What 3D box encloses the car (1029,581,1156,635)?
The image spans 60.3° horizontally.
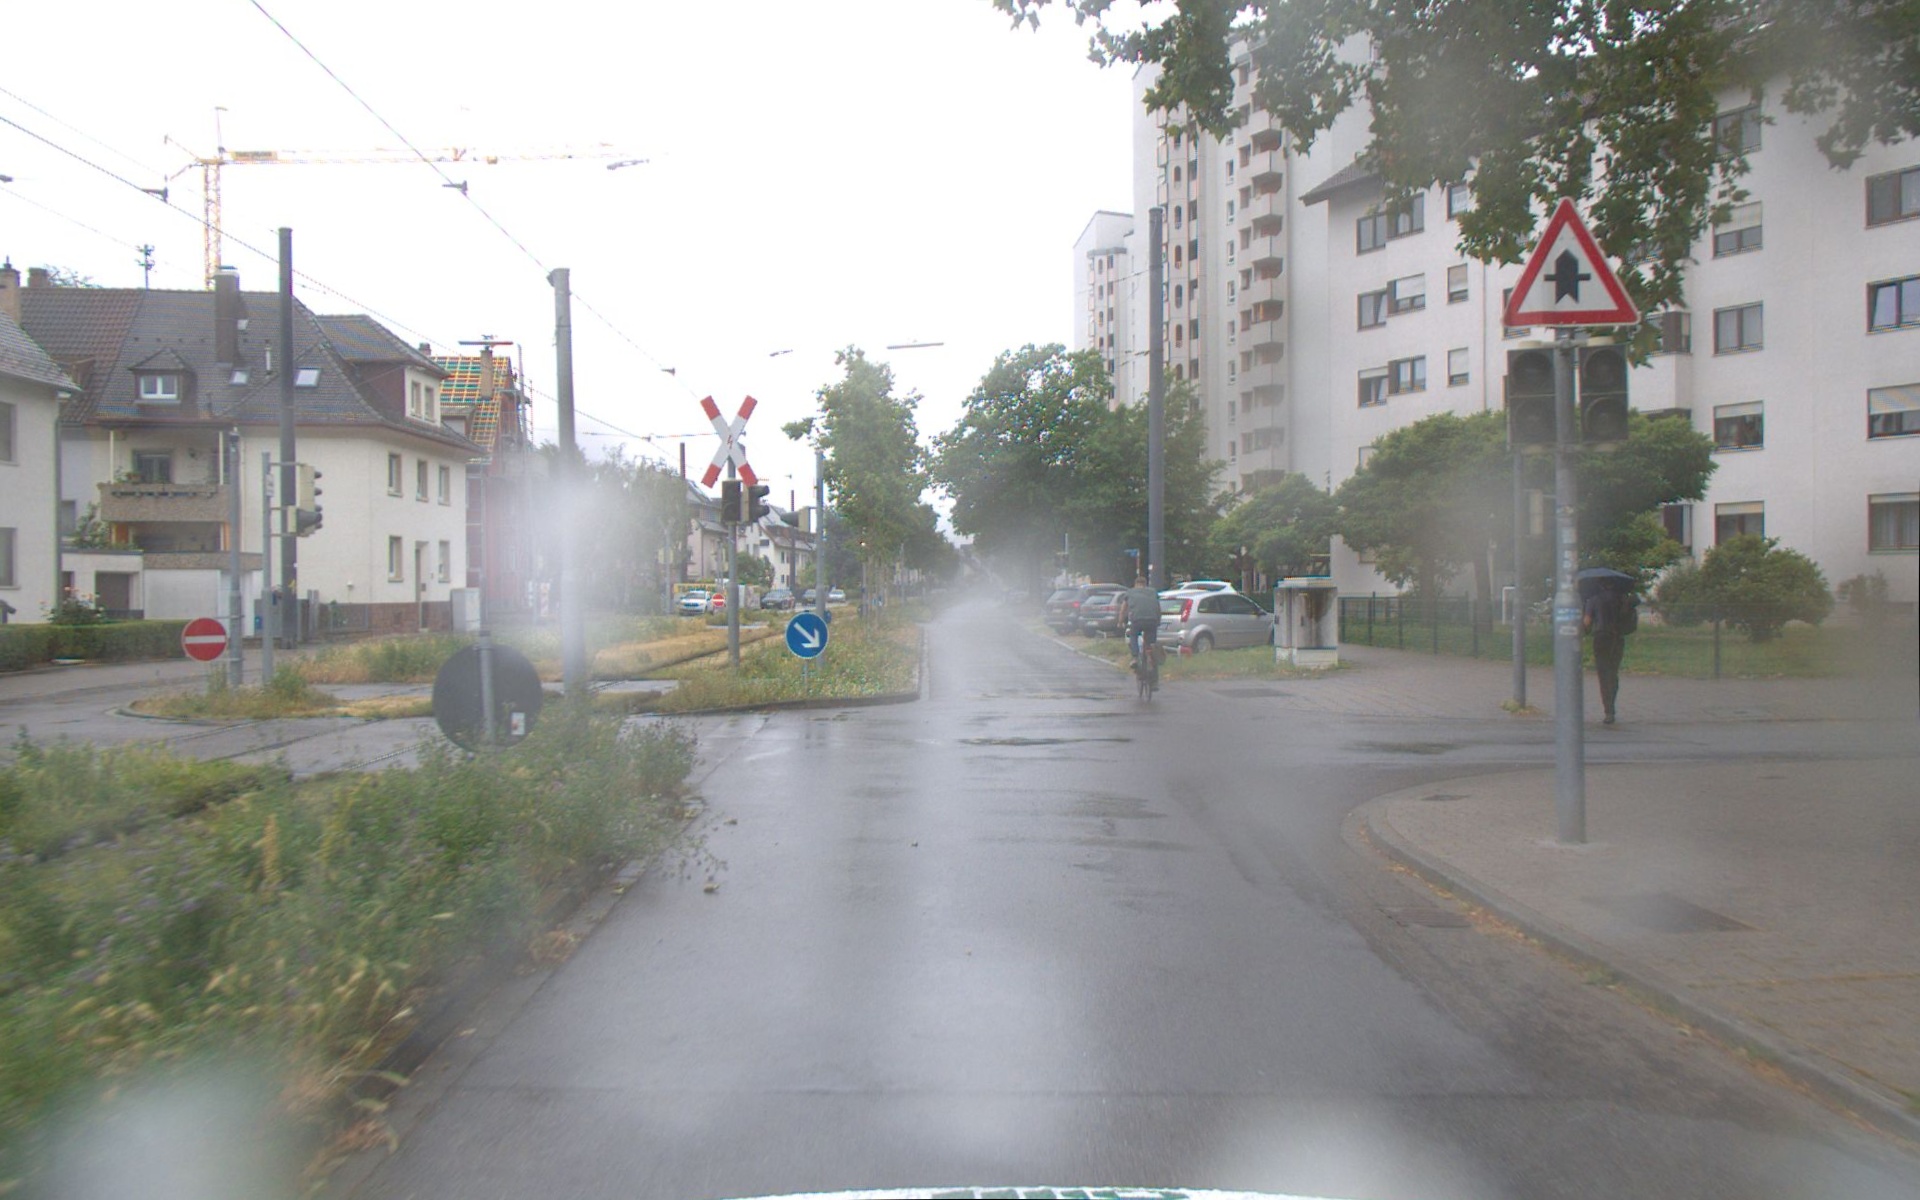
[{"bbox_3d":[4.511,0.240,56.101,4.313,1.680,1.830,-2,1,-42],"label":"car"}]

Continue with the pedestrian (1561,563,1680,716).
[{"bbox_3d":[8.223,0.473,20.650,1.076,1.845,1.435,-1,0,9],"label":"pedestrian"}]

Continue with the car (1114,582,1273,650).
[{"bbox_3d":[5.850,0.382,41.224,3.963,1.534,1.681,-2,-1,-40],"label":"car"}]

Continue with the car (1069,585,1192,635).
[{"bbox_3d":[5.491,0.305,53.094,3.966,1.454,1.708,-2,1,-42],"label":"car"}]

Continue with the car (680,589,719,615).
[{"bbox_3d":[-16.654,0.110,105.896,1.675,1.569,4.423,2,1,2],"label":"car"}]

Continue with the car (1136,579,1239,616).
[{"bbox_3d":[11.302,-0.127,82.265,4.723,1.776,1.992,-1,0,-15],"label":"car"}]

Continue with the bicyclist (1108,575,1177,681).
[{"bbox_3d":[2.601,0.386,23.616,0.793,1.458,1.059,-1,0,-3],"label":"bicyclist"}]

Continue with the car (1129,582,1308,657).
[{"bbox_3d":[5.931,0.439,37.847,3.957,1.534,1.761,-2,-1,-37],"label":"car"}]

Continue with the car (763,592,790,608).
[{"bbox_3d":[-14.951,0.008,135.008,1.629,1.266,4.072,1,1,1],"label":"car"}]

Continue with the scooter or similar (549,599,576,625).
[{"bbox_3d":[-18.407,0.548,76.584,0.432,1.149,1.280,-1,0,30],"label":"scooter or similar"}]

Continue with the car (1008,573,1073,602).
[{"bbox_3d":[5.579,-0.895,114.595,4.095,1.749,1.979,-4,2,-32],"label":"car"}]

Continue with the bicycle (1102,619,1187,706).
[{"bbox_3d":[2.610,0.858,23.639,0.793,1.116,2.516,-1,0,-3],"label":"bicycle"}]

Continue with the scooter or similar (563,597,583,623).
[{"bbox_3d":[-18.626,0.481,79.684,0.385,1.201,1.284,-1,0,15],"label":"scooter or similar"}]
